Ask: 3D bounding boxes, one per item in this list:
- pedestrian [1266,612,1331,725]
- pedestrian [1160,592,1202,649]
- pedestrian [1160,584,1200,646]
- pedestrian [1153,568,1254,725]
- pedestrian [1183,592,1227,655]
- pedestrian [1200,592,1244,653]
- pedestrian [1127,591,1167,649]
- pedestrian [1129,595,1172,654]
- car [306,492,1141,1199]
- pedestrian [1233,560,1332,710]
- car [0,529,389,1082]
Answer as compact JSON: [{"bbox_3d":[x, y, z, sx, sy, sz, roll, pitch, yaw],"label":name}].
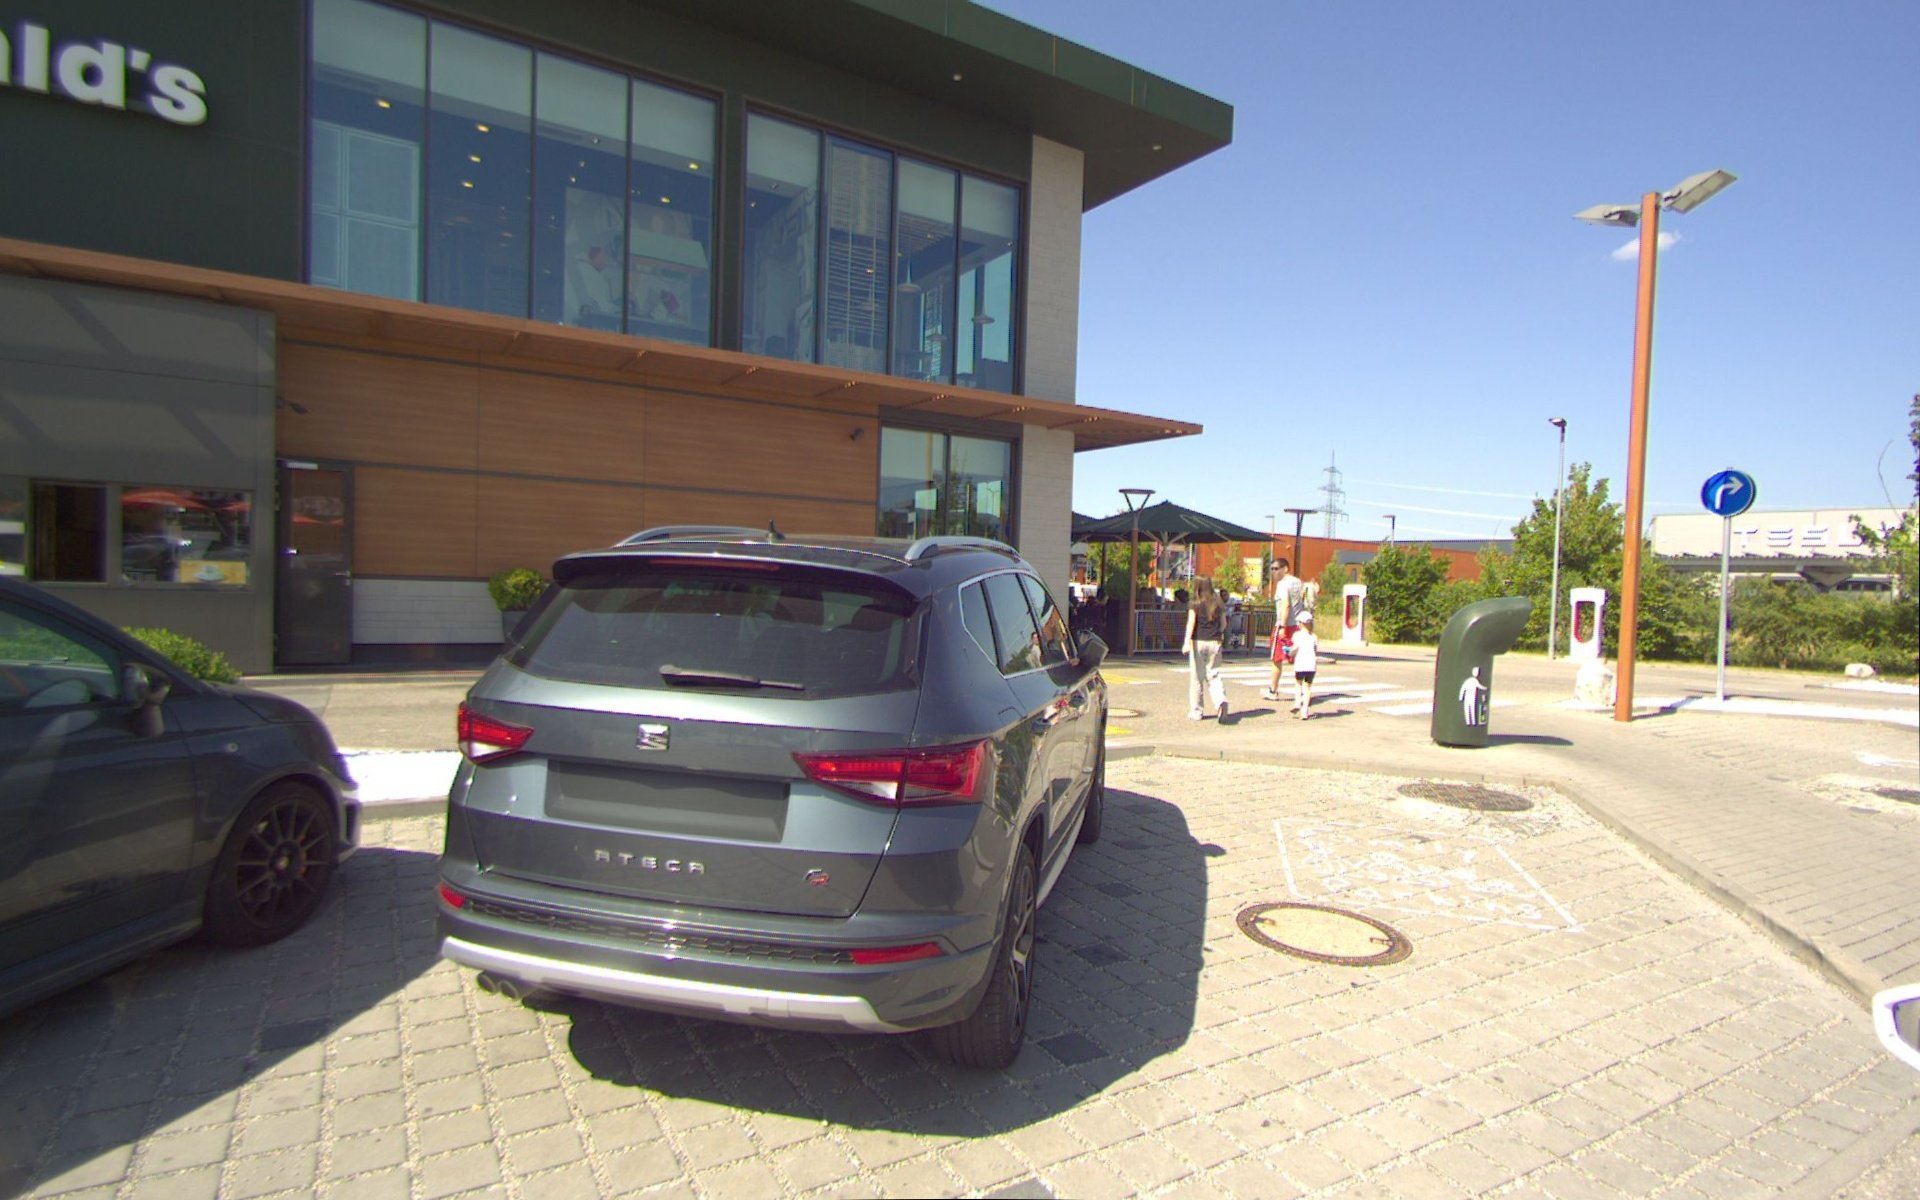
[{"bbox_3d":[3.730,0.737,11.082,0.444,1.202,0.486,1,1,-37],"label":"pedestrian"},{"bbox_3d":[5.051,0.458,22.967,0.723,1.275,0.567,1,1,-36],"label":"pedestrian"},{"bbox_3d":[4.661,0.317,21.323,0.628,1.275,0.519,1,1,-36],"label":"pedestrian"},{"bbox_3d":[2.590,0.474,10.732,0.730,1.605,0.725,1,1,-22],"label":"pedestrian"},{"bbox_3d":[5.085,0.476,20.858,0.709,1.275,0.519,1,1,-36],"label":"pedestrian"},{"bbox_3d":[5.645,0.477,21.660,0.723,1.275,0.567,1,1,-36],"label":"pedestrian"},{"bbox_3d":[4.181,0.443,22.424,0.709,1.275,0.519,1,1,-36],"label":"pedestrian"},{"bbox_3d":[3.760,0.481,19.838,0.628,1.139,0.519,1,1,-36],"label":"pedestrian"},{"bbox_3d":[-0.267,0.529,4.336,1.755,1.625,4.229,4,3,13],"label":"car"},{"bbox_3d":[4.025,0.413,12.529,0.889,1.792,0.794,1,1,-40],"label":"pedestrian"},{"bbox_3d":[-3.368,0.540,2.645,1.536,1.502,3.416,2,1,5],"label":"car"}]
